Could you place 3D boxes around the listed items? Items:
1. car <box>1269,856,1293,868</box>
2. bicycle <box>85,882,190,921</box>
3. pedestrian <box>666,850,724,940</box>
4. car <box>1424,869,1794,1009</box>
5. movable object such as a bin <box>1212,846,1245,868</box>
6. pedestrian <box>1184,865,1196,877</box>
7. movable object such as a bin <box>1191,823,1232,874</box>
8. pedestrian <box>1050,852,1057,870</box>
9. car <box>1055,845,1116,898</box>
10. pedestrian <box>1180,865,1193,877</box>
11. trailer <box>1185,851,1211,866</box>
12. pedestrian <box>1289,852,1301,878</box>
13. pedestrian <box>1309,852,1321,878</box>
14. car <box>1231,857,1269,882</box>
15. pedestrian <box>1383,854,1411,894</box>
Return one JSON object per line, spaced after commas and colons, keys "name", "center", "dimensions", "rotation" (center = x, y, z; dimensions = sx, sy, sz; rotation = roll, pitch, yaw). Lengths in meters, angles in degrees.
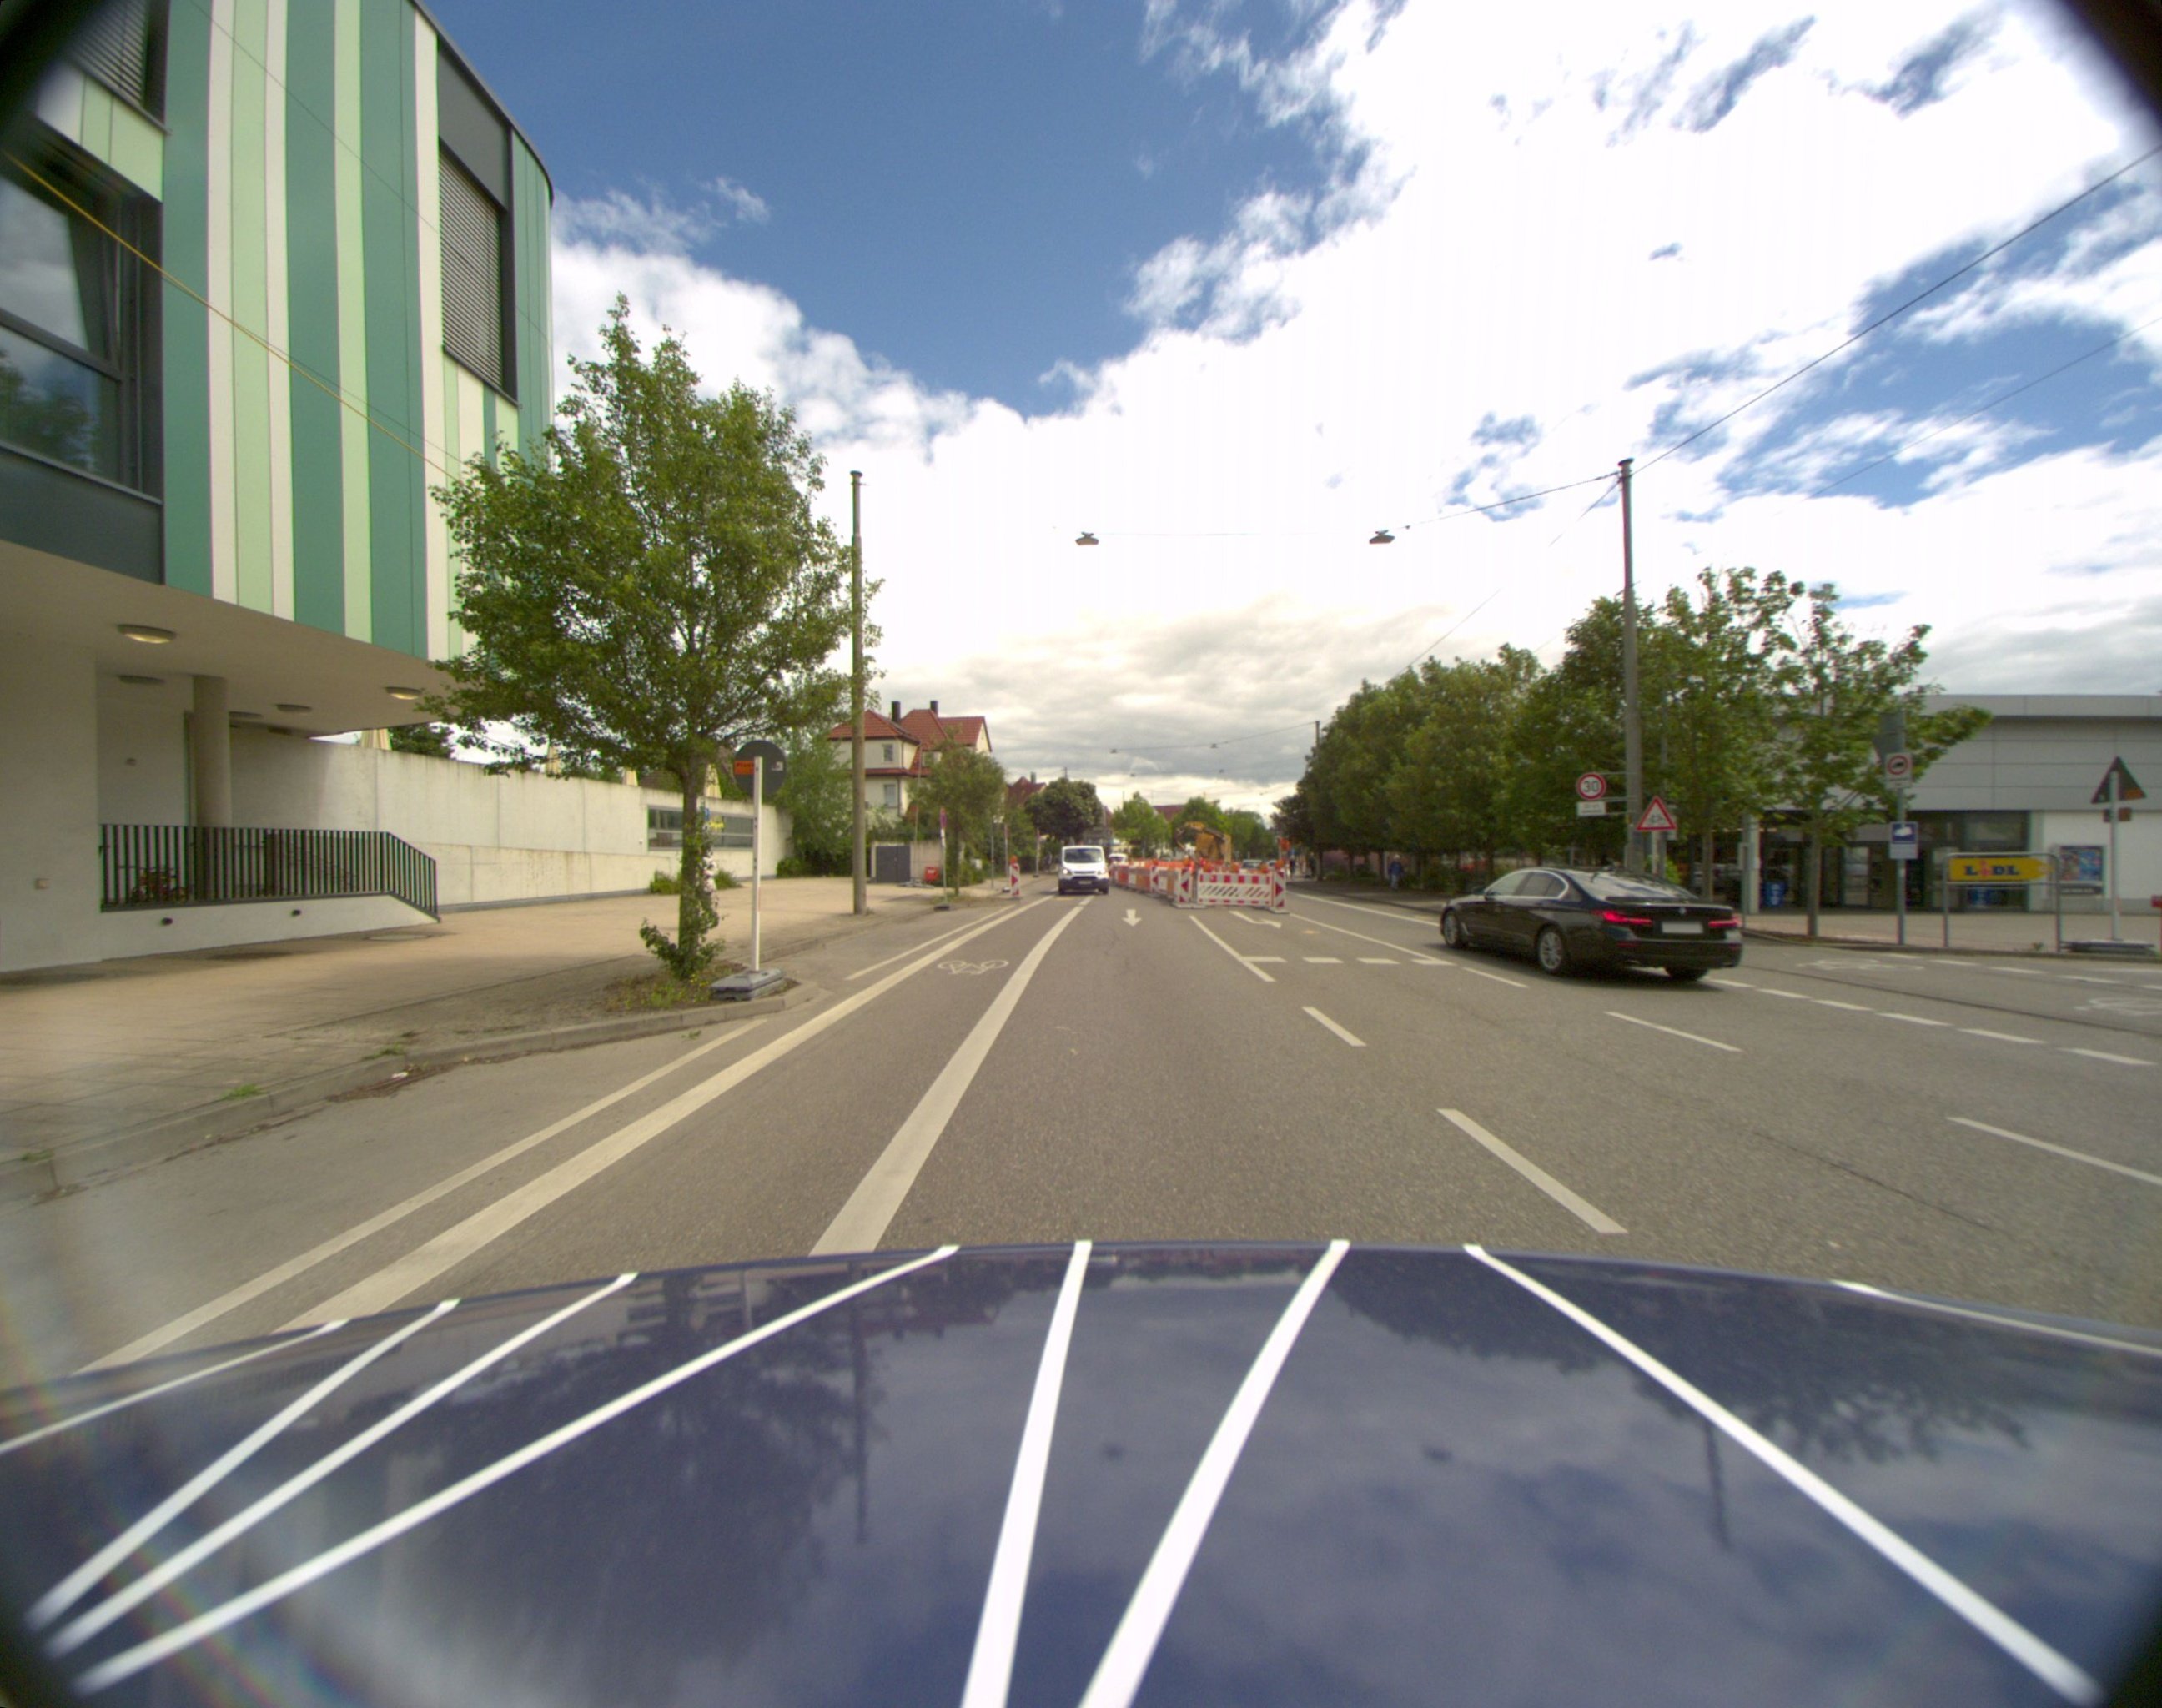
{"name": "car", "center": [26.394, 1.041, 100.105], "dimensions": [1.855, 1.444, 4.008], "rotation": [0, 0, 33]}
{"name": "bicycle", "center": [-12.031, 0.594, 9.713], "dimensions": [0.307, 0.450, 0.799], "rotation": [1, 0, 7]}
{"name": "pedestrian", "center": [-6.858, 0.699, 13.528], "dimensions": [0.582, 1.542, 0.869], "rotation": [1, 1, 1]}
{"name": "car", "center": [7.059, 1.012, 11.004], "dimensions": [1.998, 1.391, 4.810], "rotation": [2, 0, 1]}
{"name": "movable object such as a bin", "center": [18.263, 0.341, 94.026], "dimensions": [1.994, 2.610, 6.535], "rotation": [1, 0, 29]}
{"name": "pedestrian", "center": [8.947, 1.425, 62.559], "dimensions": [0.641, 0.985, 0.795], "rotation": [1, 1, 39]}
{"name": "movable object such as a bin", "center": [12.001, -0.455, 69.097], "dimensions": [2.594, 4.197, 11.134], "rotation": [1, 0, 15]}
{"name": "pedestrian", "center": [-2.423, 0.604, 66.258], "dimensions": [0.522, 1.531, 0.636], "rotation": [1, 1, -6]}
{"name": "car", "center": [0.090, 0.651, 32.047], "dimensions": [1.999, 2.002, 5.510], "rotation": [-1, 0, -6]}
{"name": "pedestrian", "center": [8.812, 1.411, 63.568], "dimensions": [0.791, 0.985, 0.813], "rotation": [1, 1, 29]}
{"name": "trailer", "center": [19.336, 0.730, 125.319], "dimensions": [2.594, 2.232, 5.685], "rotation": [-2, -1, 28]}
{"name": "pedestrian", "center": [15.109, 0.754, 53.650], "dimensions": [0.695, 1.836, 0.624], "rotation": [1, 1, 29]}
{"name": "pedestrian", "center": [16.305, 0.749, 52.955], "dimensions": [0.625, 1.836, 0.624], "rotation": [1, 1, 29]}
{"name": "car", "center": [10.807, 0.960, 48.798], "dimensions": [1.858, 1.504, 4.001], "rotation": [1, 0, 5]}
{"name": "pedestrian", "center": [12.745, 0.794, 30.681], "dimensions": [0.754, 1.593, 0.829], "rotation": [0, 1, -2]}
